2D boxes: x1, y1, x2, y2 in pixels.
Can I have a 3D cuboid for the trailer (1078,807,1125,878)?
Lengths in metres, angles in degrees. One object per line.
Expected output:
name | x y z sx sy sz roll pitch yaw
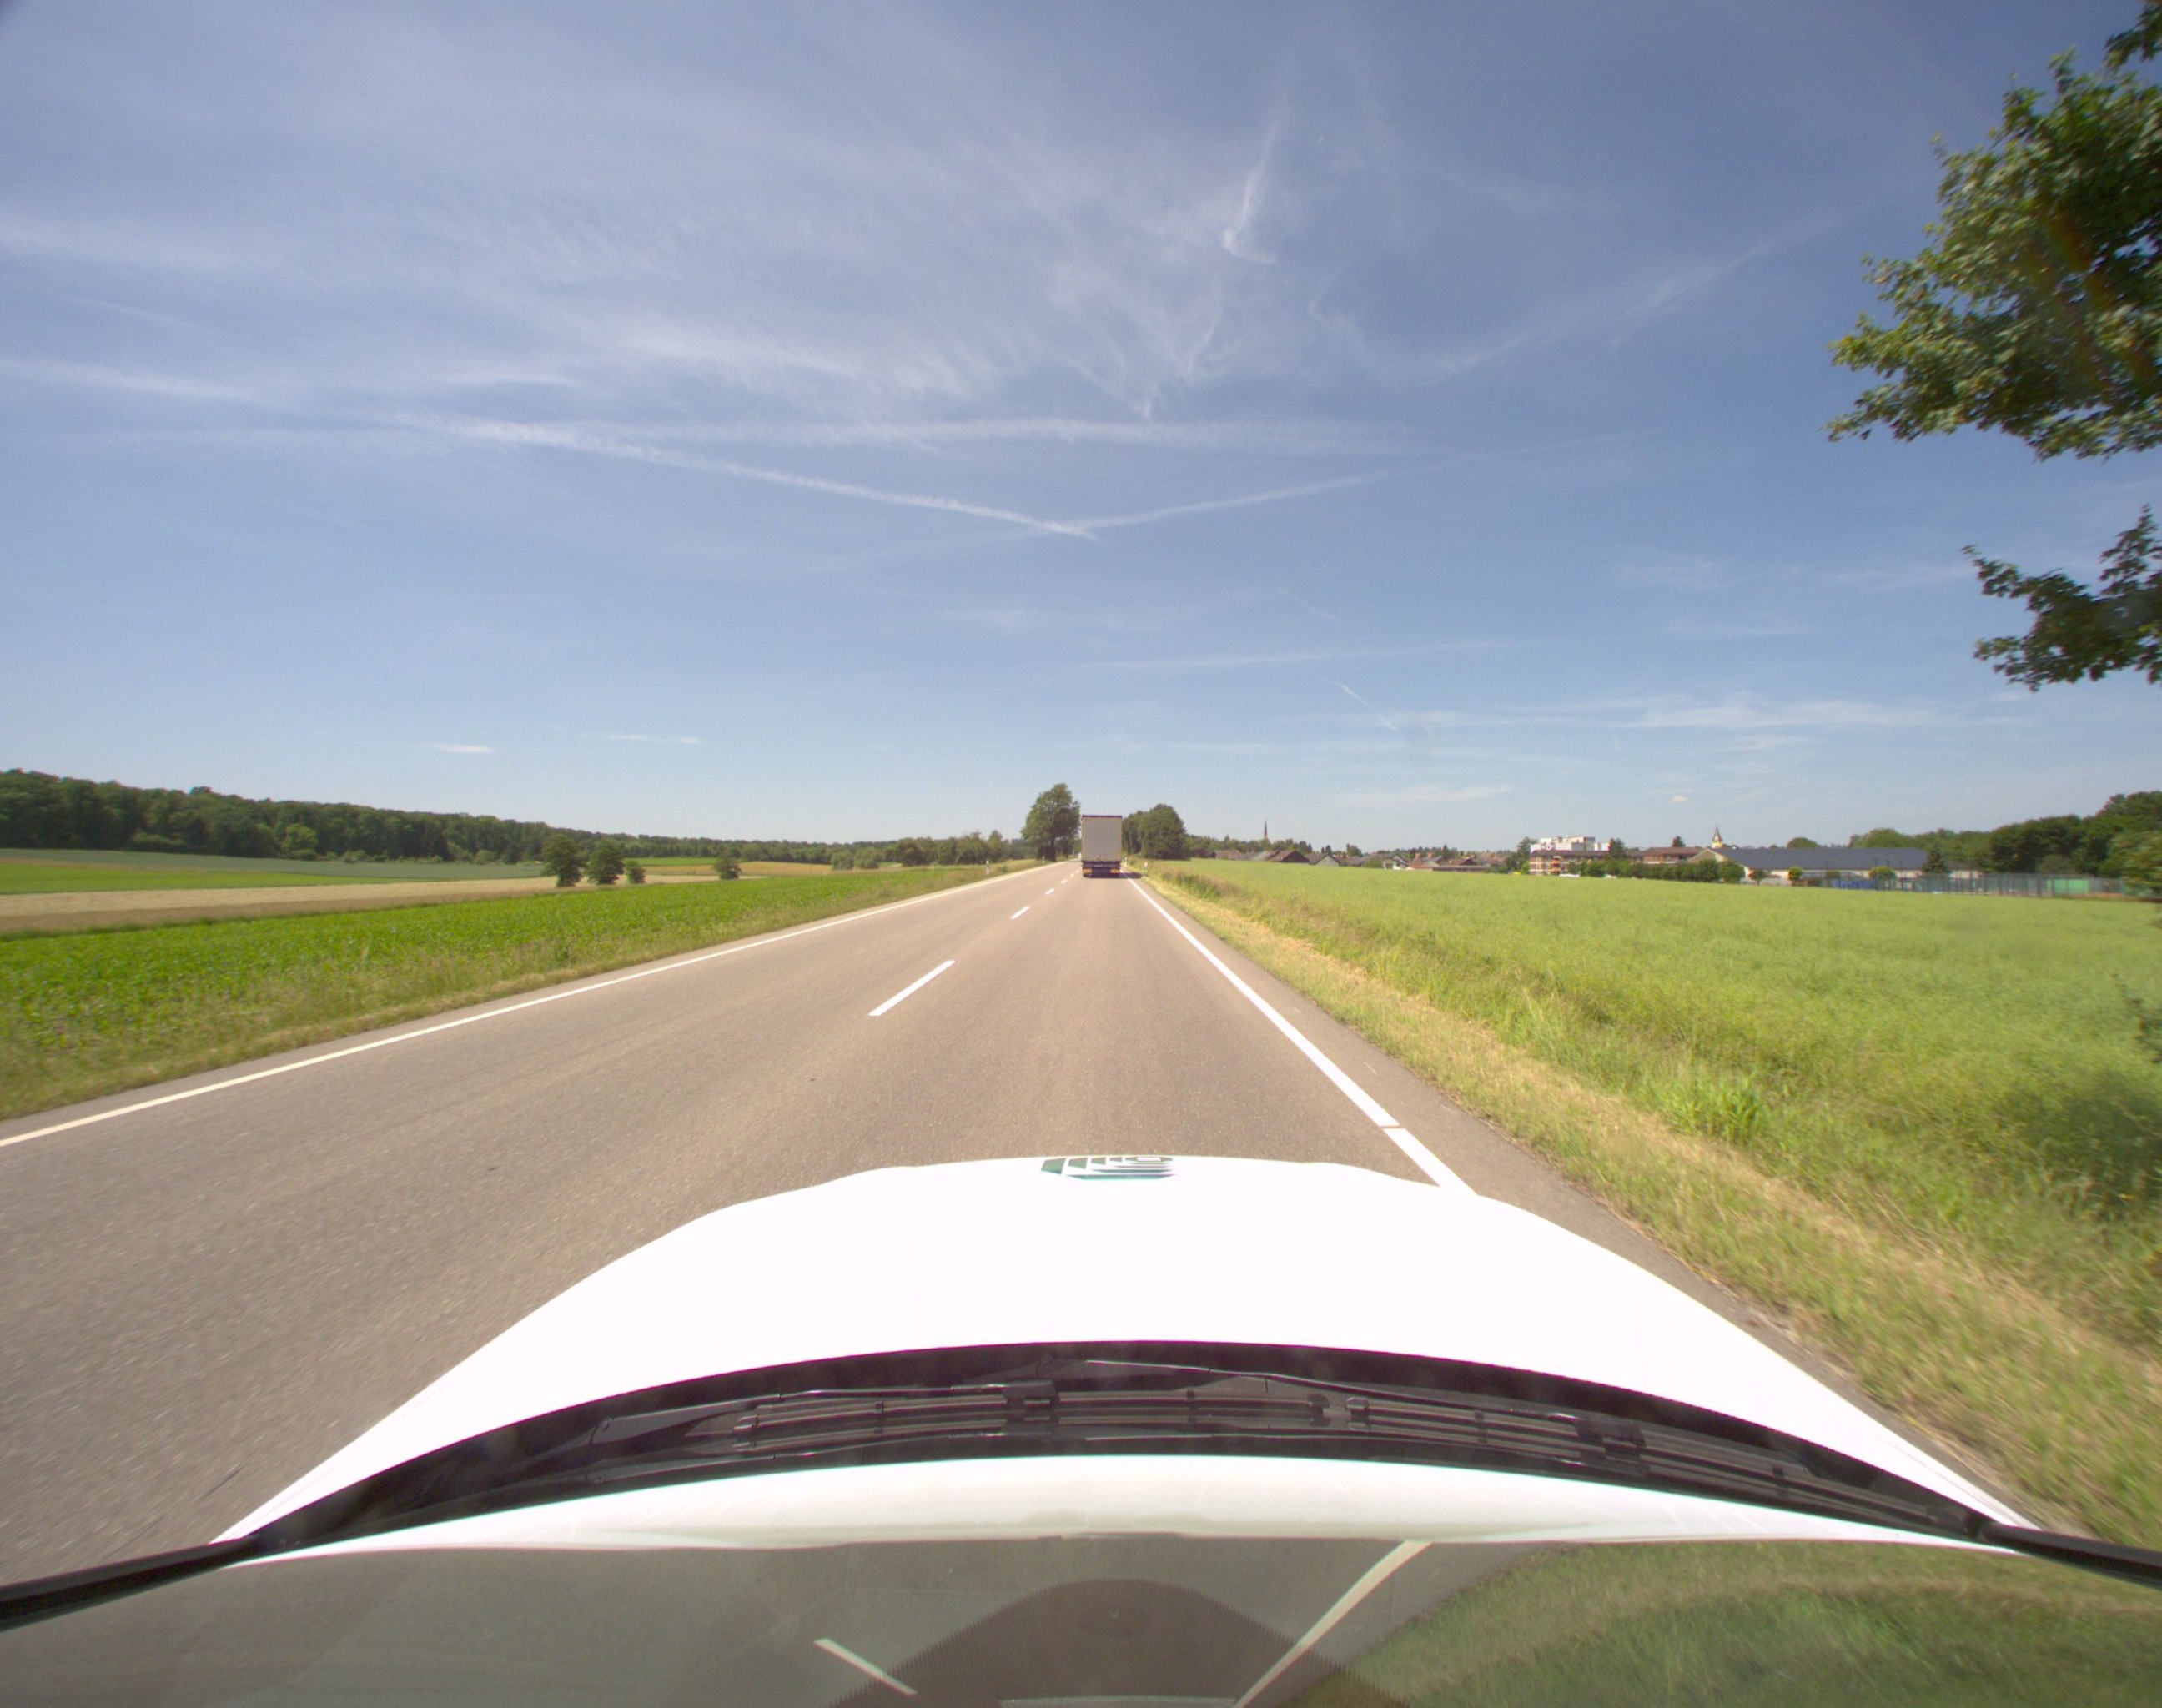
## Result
trailer | 1.405 -0.754 57.644 2.857 4.400 13.495 0 0 1
